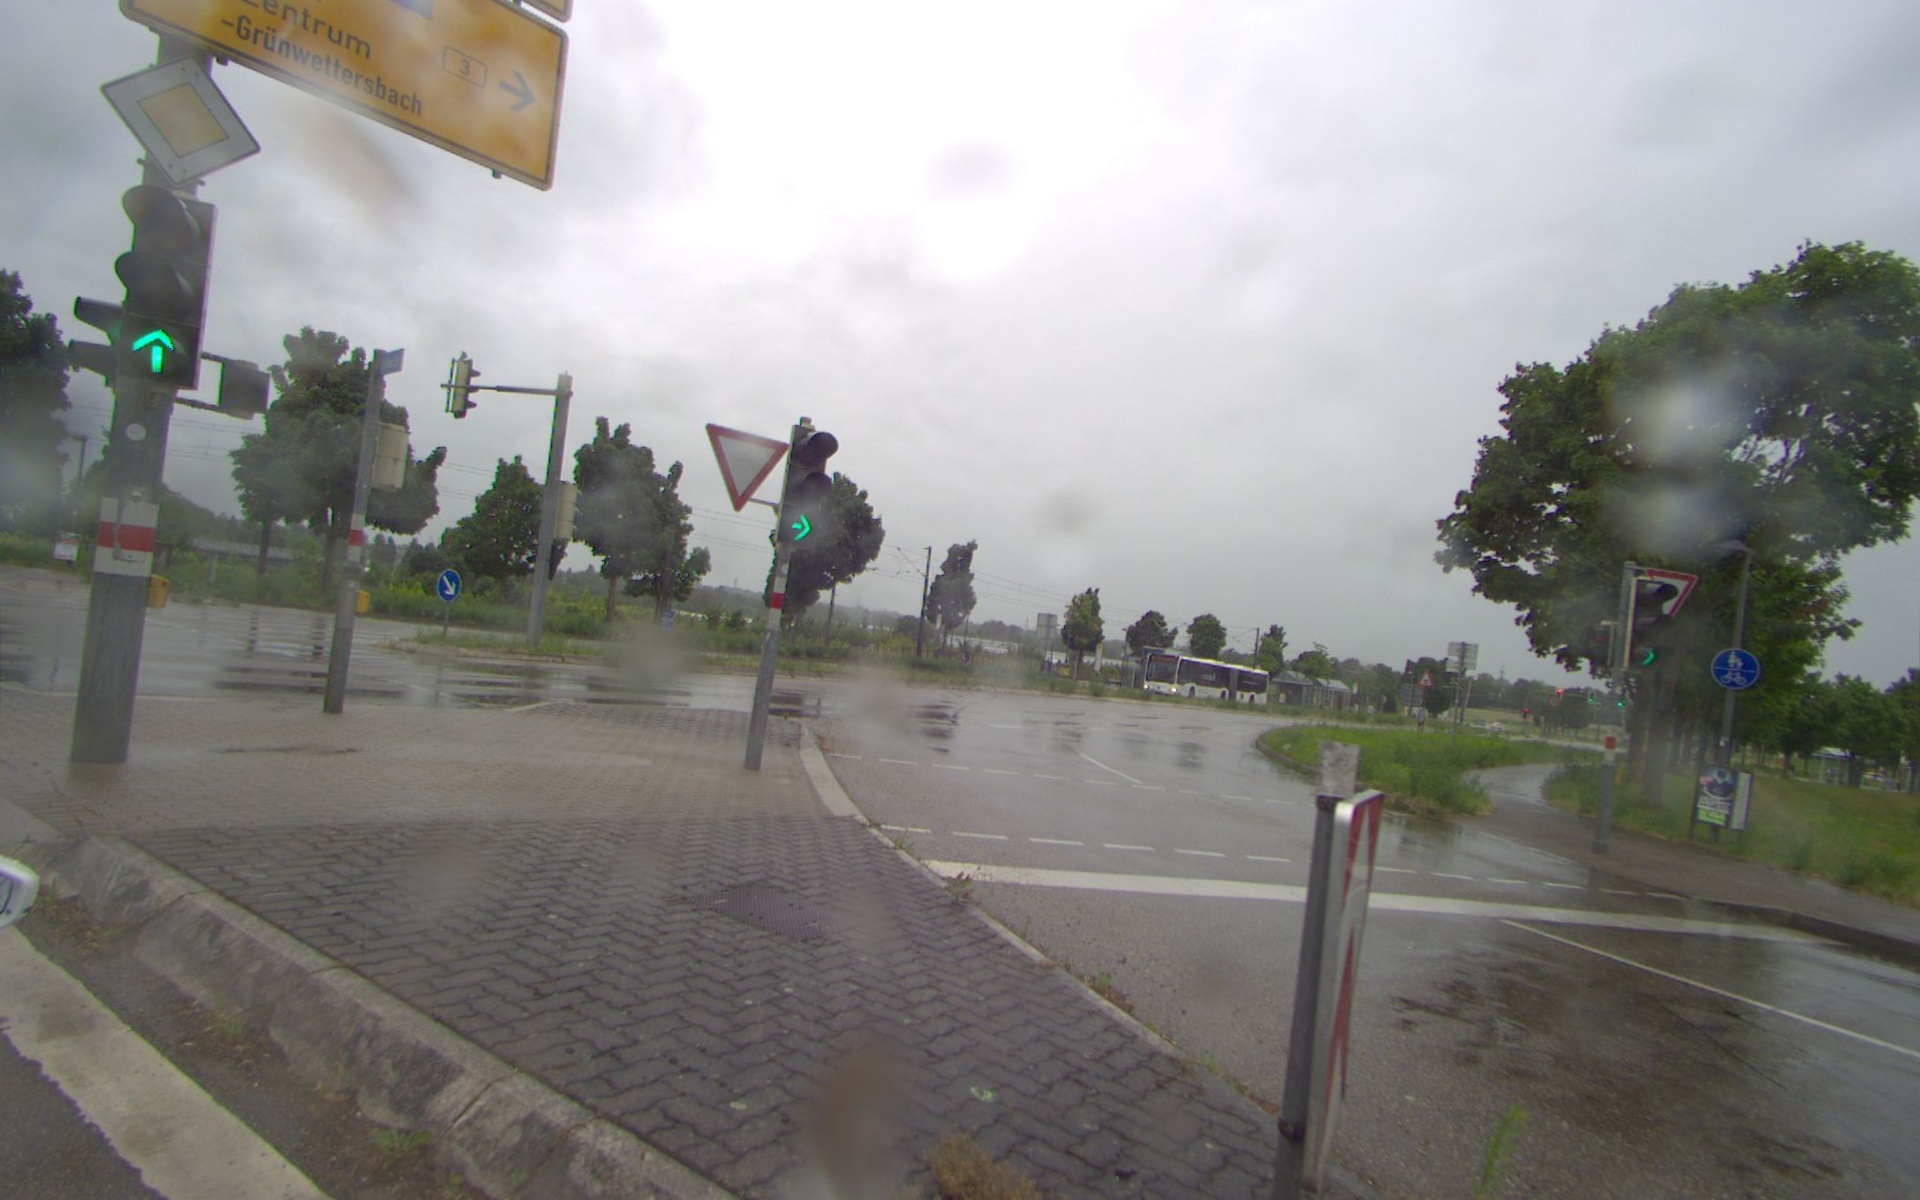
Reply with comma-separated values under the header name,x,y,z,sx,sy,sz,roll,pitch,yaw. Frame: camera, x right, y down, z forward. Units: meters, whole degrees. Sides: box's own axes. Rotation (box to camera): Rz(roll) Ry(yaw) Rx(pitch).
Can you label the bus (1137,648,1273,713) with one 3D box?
name,x,y,z,sx,sy,sz,roll,pitch,yaw
bus,18.660,6.217,74.827,2.714,3.827,18.389,6,-2,36
